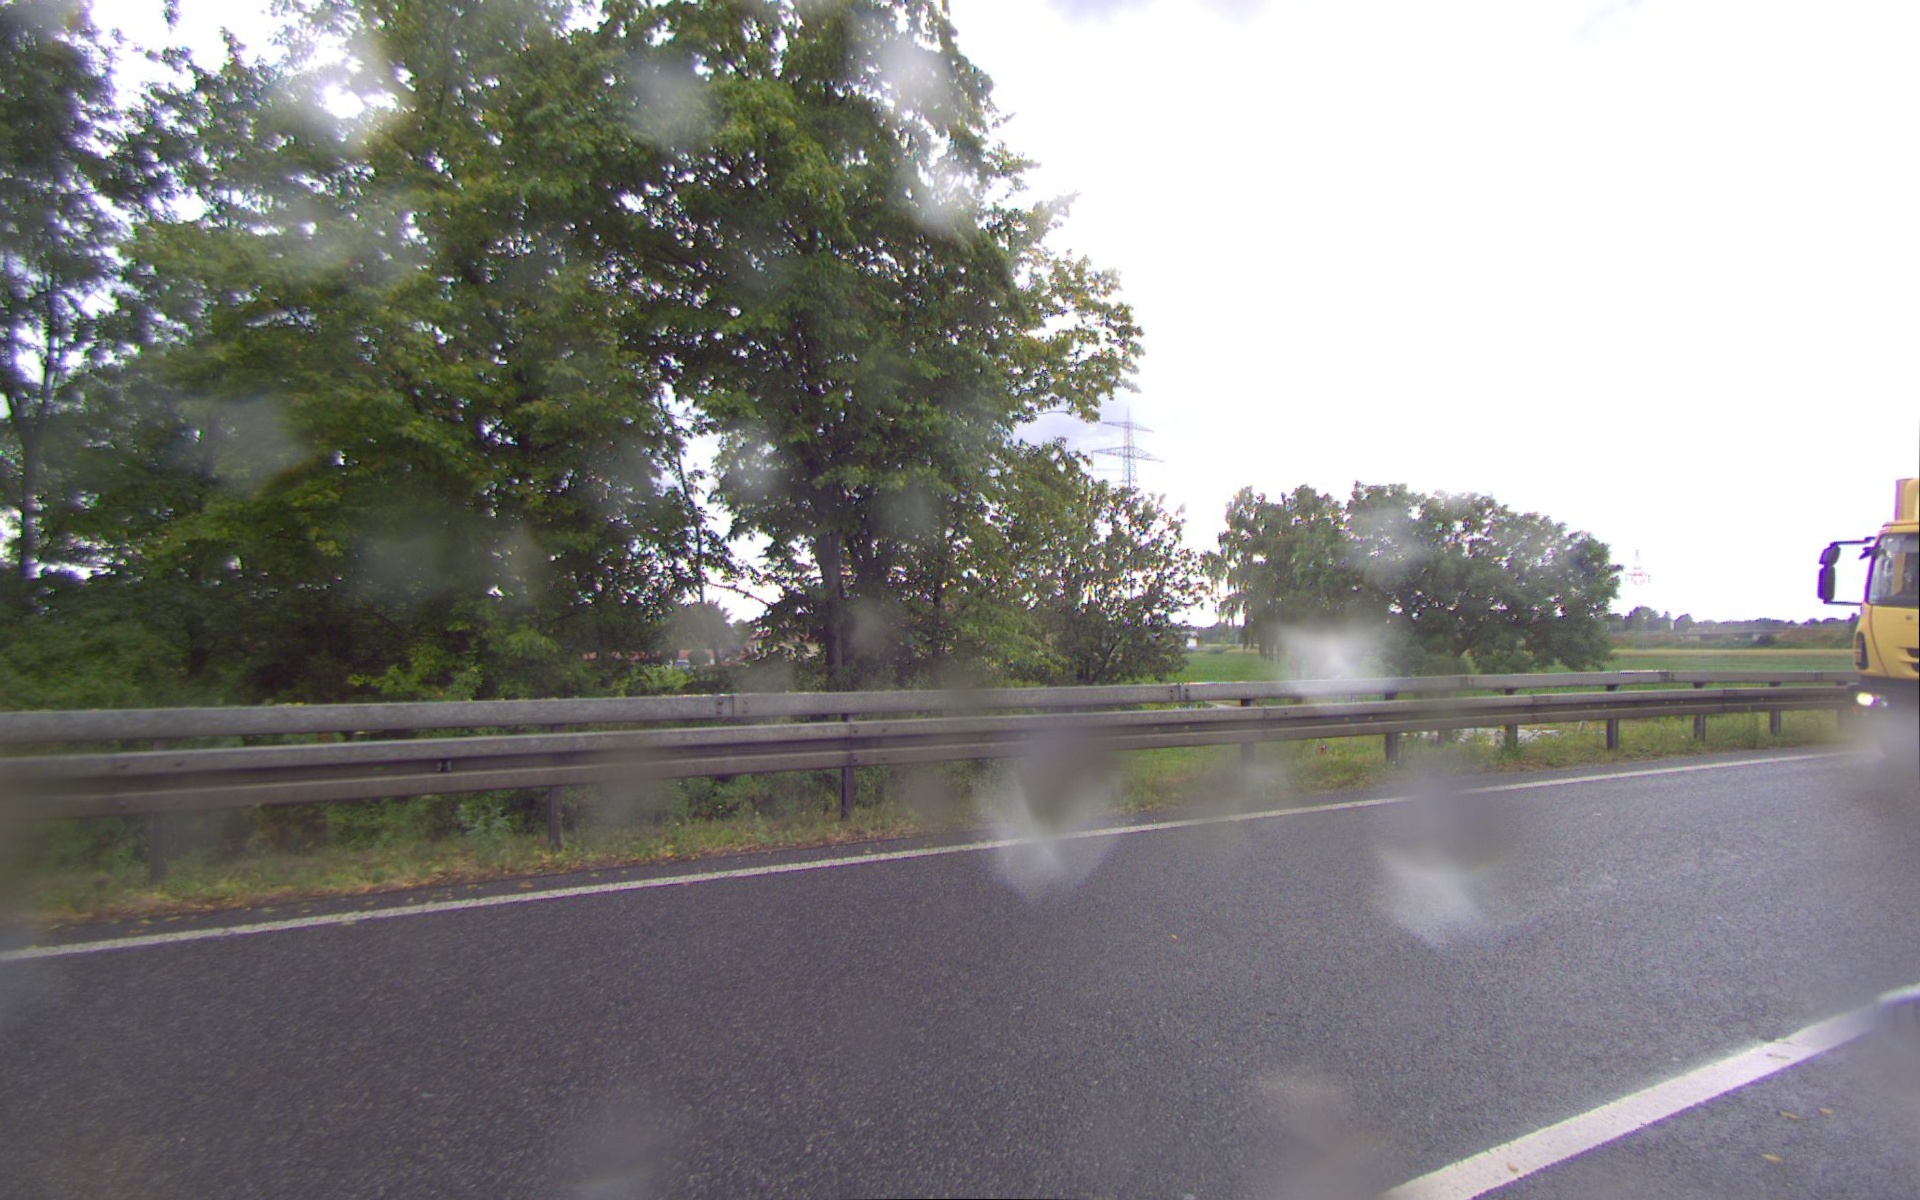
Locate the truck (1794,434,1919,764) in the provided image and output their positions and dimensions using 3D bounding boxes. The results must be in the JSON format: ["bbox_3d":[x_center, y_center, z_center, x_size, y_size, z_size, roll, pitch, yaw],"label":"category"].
[{"bbox_3d":[14.254,0.084,12.445,9.072,3.475,2.759,1,0,-28],"label":"truck"}]
